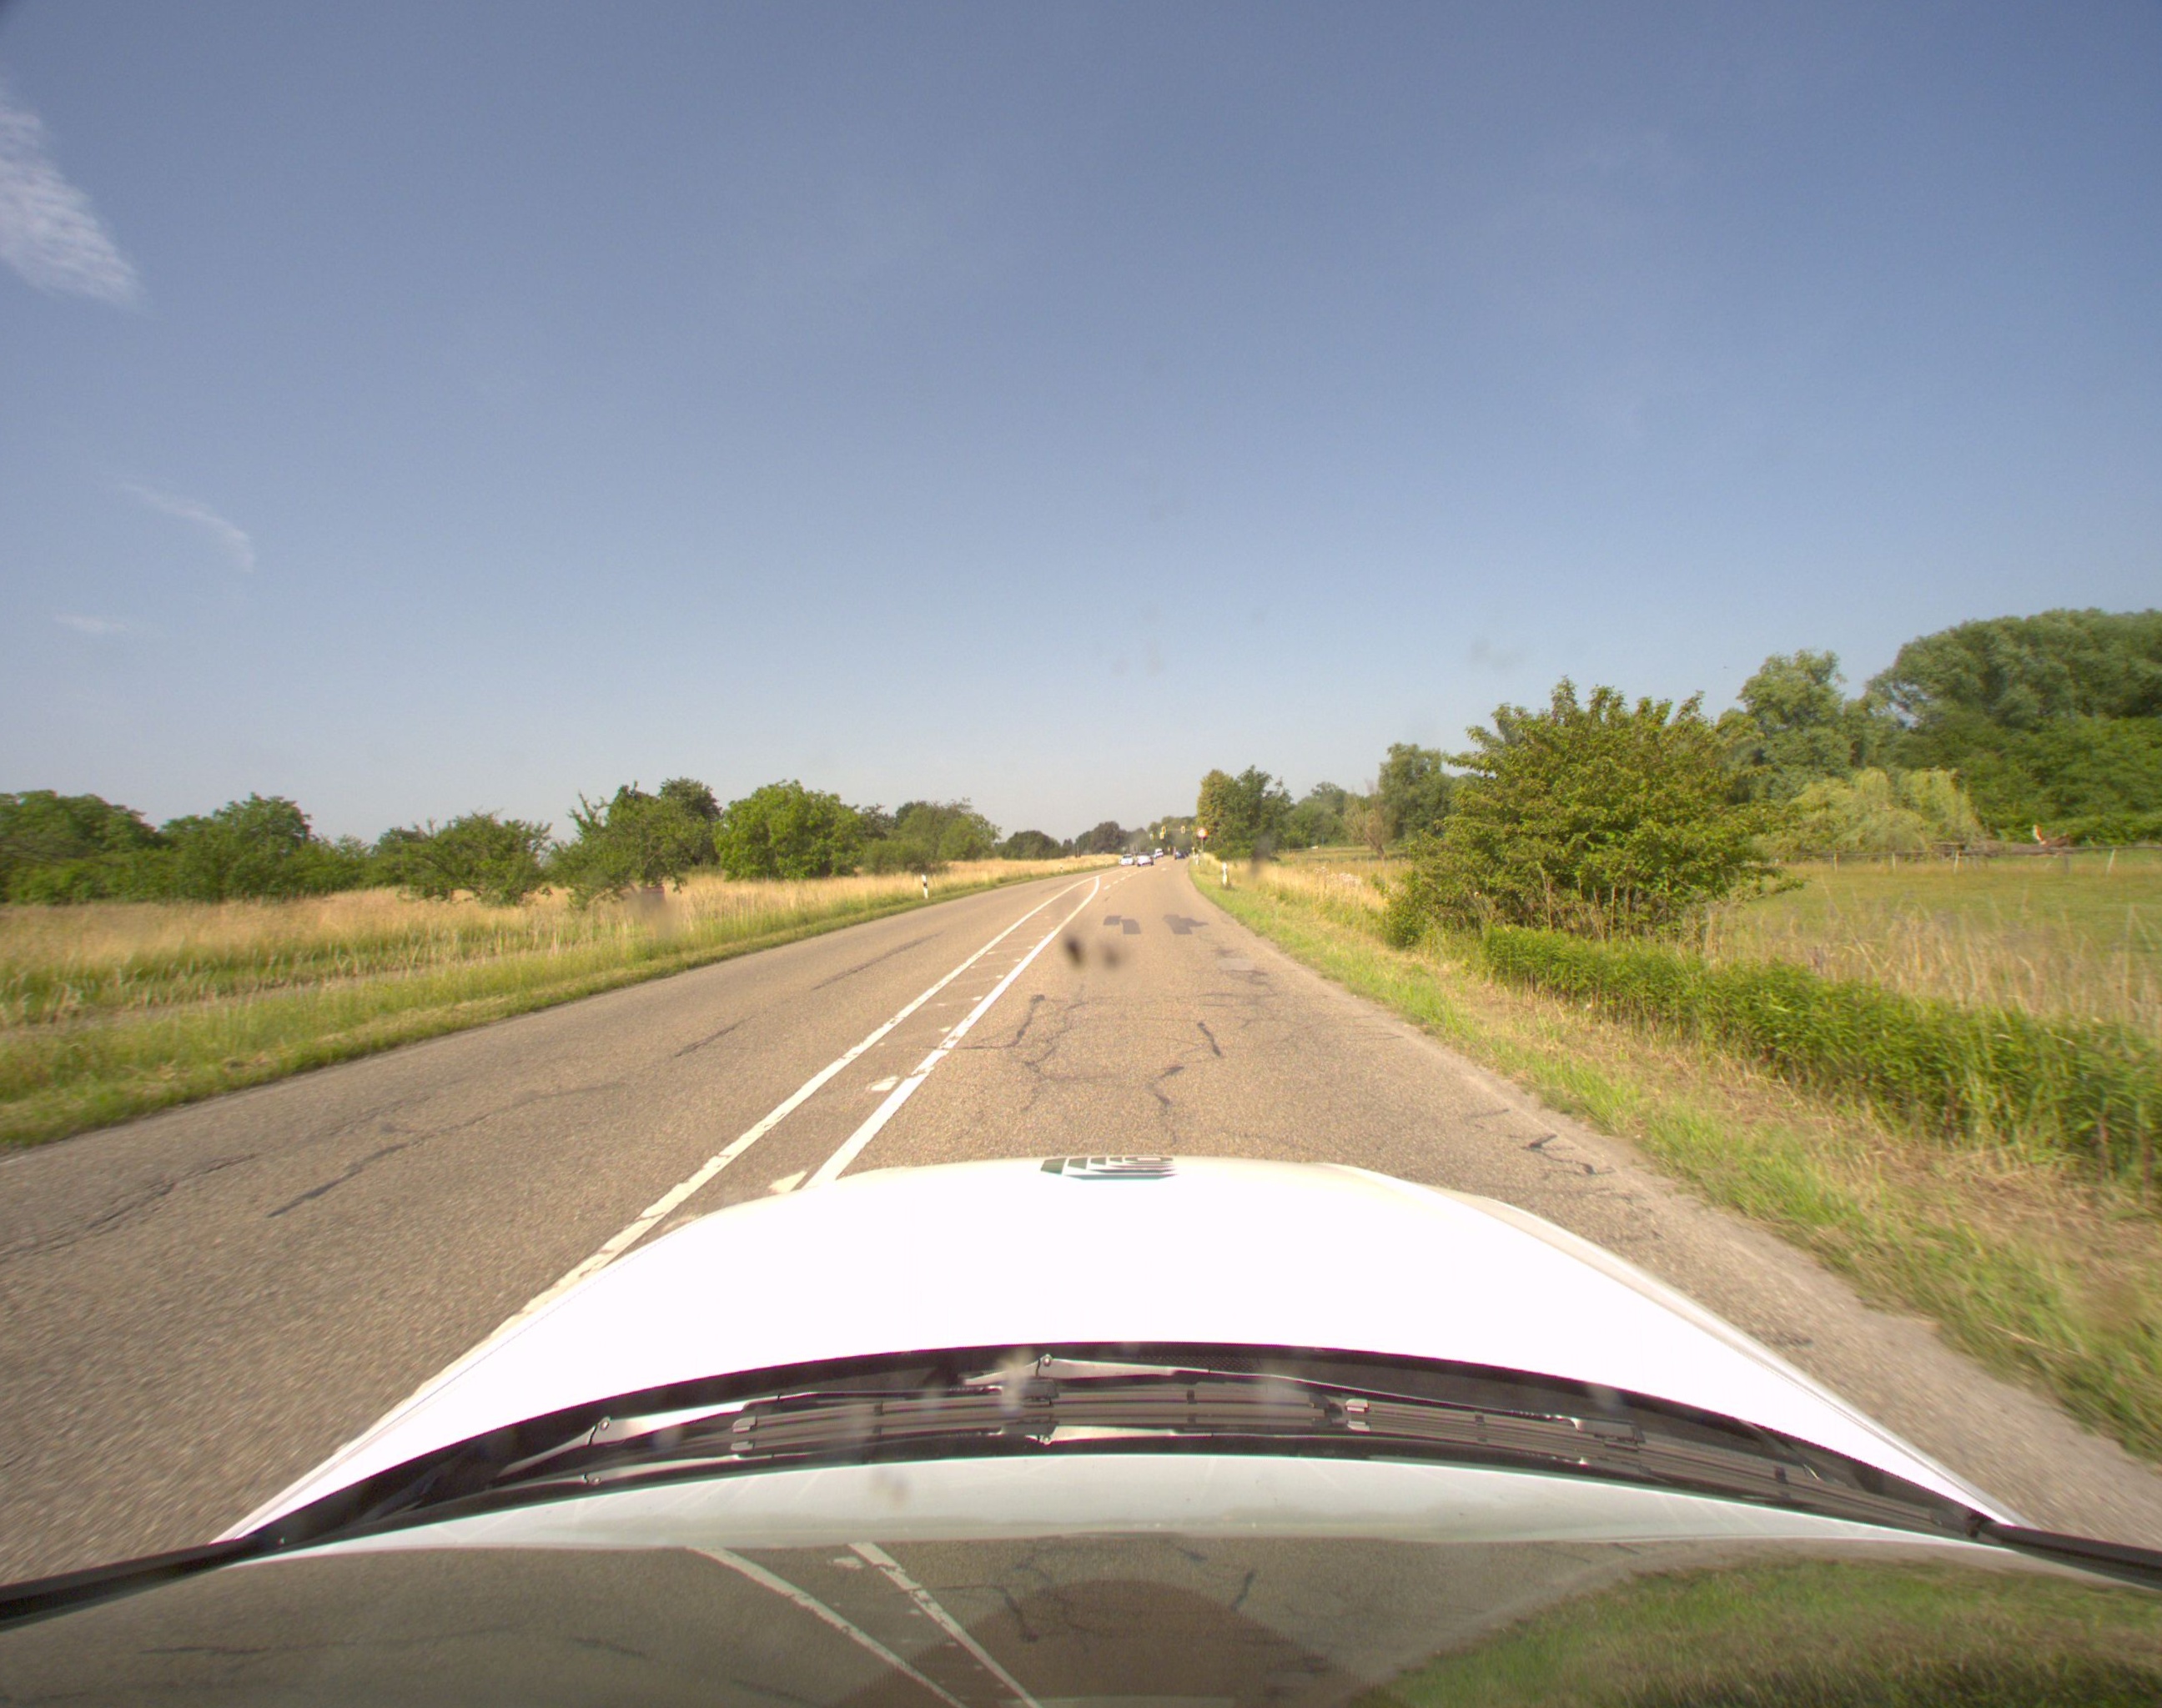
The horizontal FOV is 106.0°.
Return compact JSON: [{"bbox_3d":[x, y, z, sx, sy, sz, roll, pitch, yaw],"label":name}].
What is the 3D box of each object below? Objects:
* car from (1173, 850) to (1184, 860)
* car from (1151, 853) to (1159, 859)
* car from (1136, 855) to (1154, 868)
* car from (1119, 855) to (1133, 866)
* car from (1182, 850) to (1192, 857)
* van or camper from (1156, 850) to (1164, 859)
[{"bbox_3d":[17.304,0.176,144.001,1.806,1.520,4.009,-3,0,8],"label":"car"},{"bbox_3d":[19.885,0.559,218.162,1.825,1.694,3.868,-2,0,8],"label":"car"},{"bbox_3d":[7.595,0.892,96.037,1.889,1.512,4.008,-1,0,7],"label":"car"},{"bbox_3d":[6.593,0.933,119.462,1.803,1.585,4.231,-2,0,6],"label":"car"},{"bbox_3d":[22.751,-0.052,175.677,1.833,1.552,4.003,-1,0,3],"label":"car"},{"bbox_3d":[25.033,0.085,257.278,2.251,2.709,5.275,0,0,9],"label":"van or camper"}]
